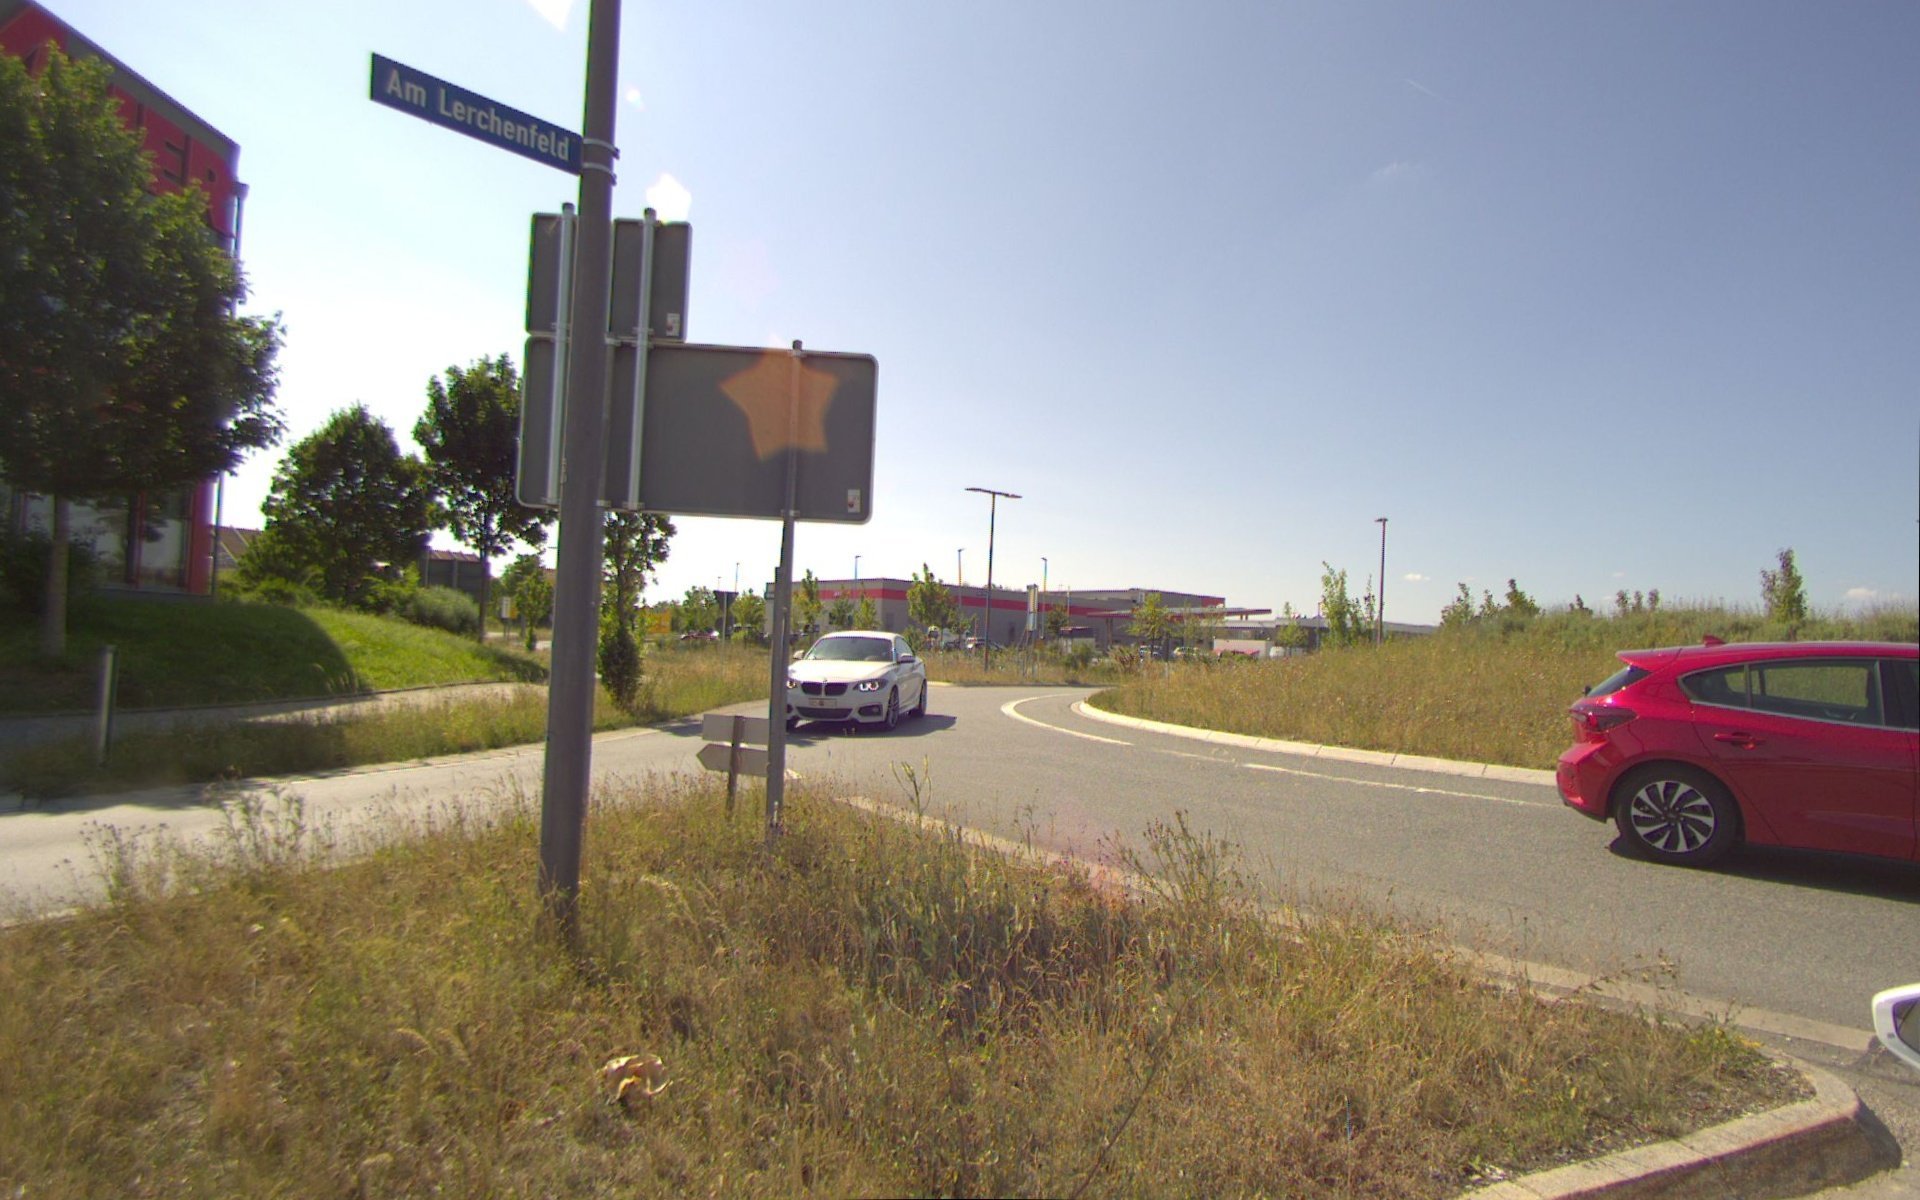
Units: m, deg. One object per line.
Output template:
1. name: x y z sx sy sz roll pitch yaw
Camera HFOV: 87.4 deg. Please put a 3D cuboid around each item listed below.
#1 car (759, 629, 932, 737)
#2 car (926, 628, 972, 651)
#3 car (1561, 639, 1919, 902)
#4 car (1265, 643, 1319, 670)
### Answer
1. car: -1.637 1.242 15.946 1.761 1.434 4.386 1 -3 6
2. car: -1.041 3.745 94.656 3.972 2.040 1.975 4 -3 -43
3. car: 6.160 0.996 6.093 4.059 1.434 1.798 -1 -2 43
4. car: 27.822 4.739 84.121 5.099 2.040 1.976 5 -3 -42
